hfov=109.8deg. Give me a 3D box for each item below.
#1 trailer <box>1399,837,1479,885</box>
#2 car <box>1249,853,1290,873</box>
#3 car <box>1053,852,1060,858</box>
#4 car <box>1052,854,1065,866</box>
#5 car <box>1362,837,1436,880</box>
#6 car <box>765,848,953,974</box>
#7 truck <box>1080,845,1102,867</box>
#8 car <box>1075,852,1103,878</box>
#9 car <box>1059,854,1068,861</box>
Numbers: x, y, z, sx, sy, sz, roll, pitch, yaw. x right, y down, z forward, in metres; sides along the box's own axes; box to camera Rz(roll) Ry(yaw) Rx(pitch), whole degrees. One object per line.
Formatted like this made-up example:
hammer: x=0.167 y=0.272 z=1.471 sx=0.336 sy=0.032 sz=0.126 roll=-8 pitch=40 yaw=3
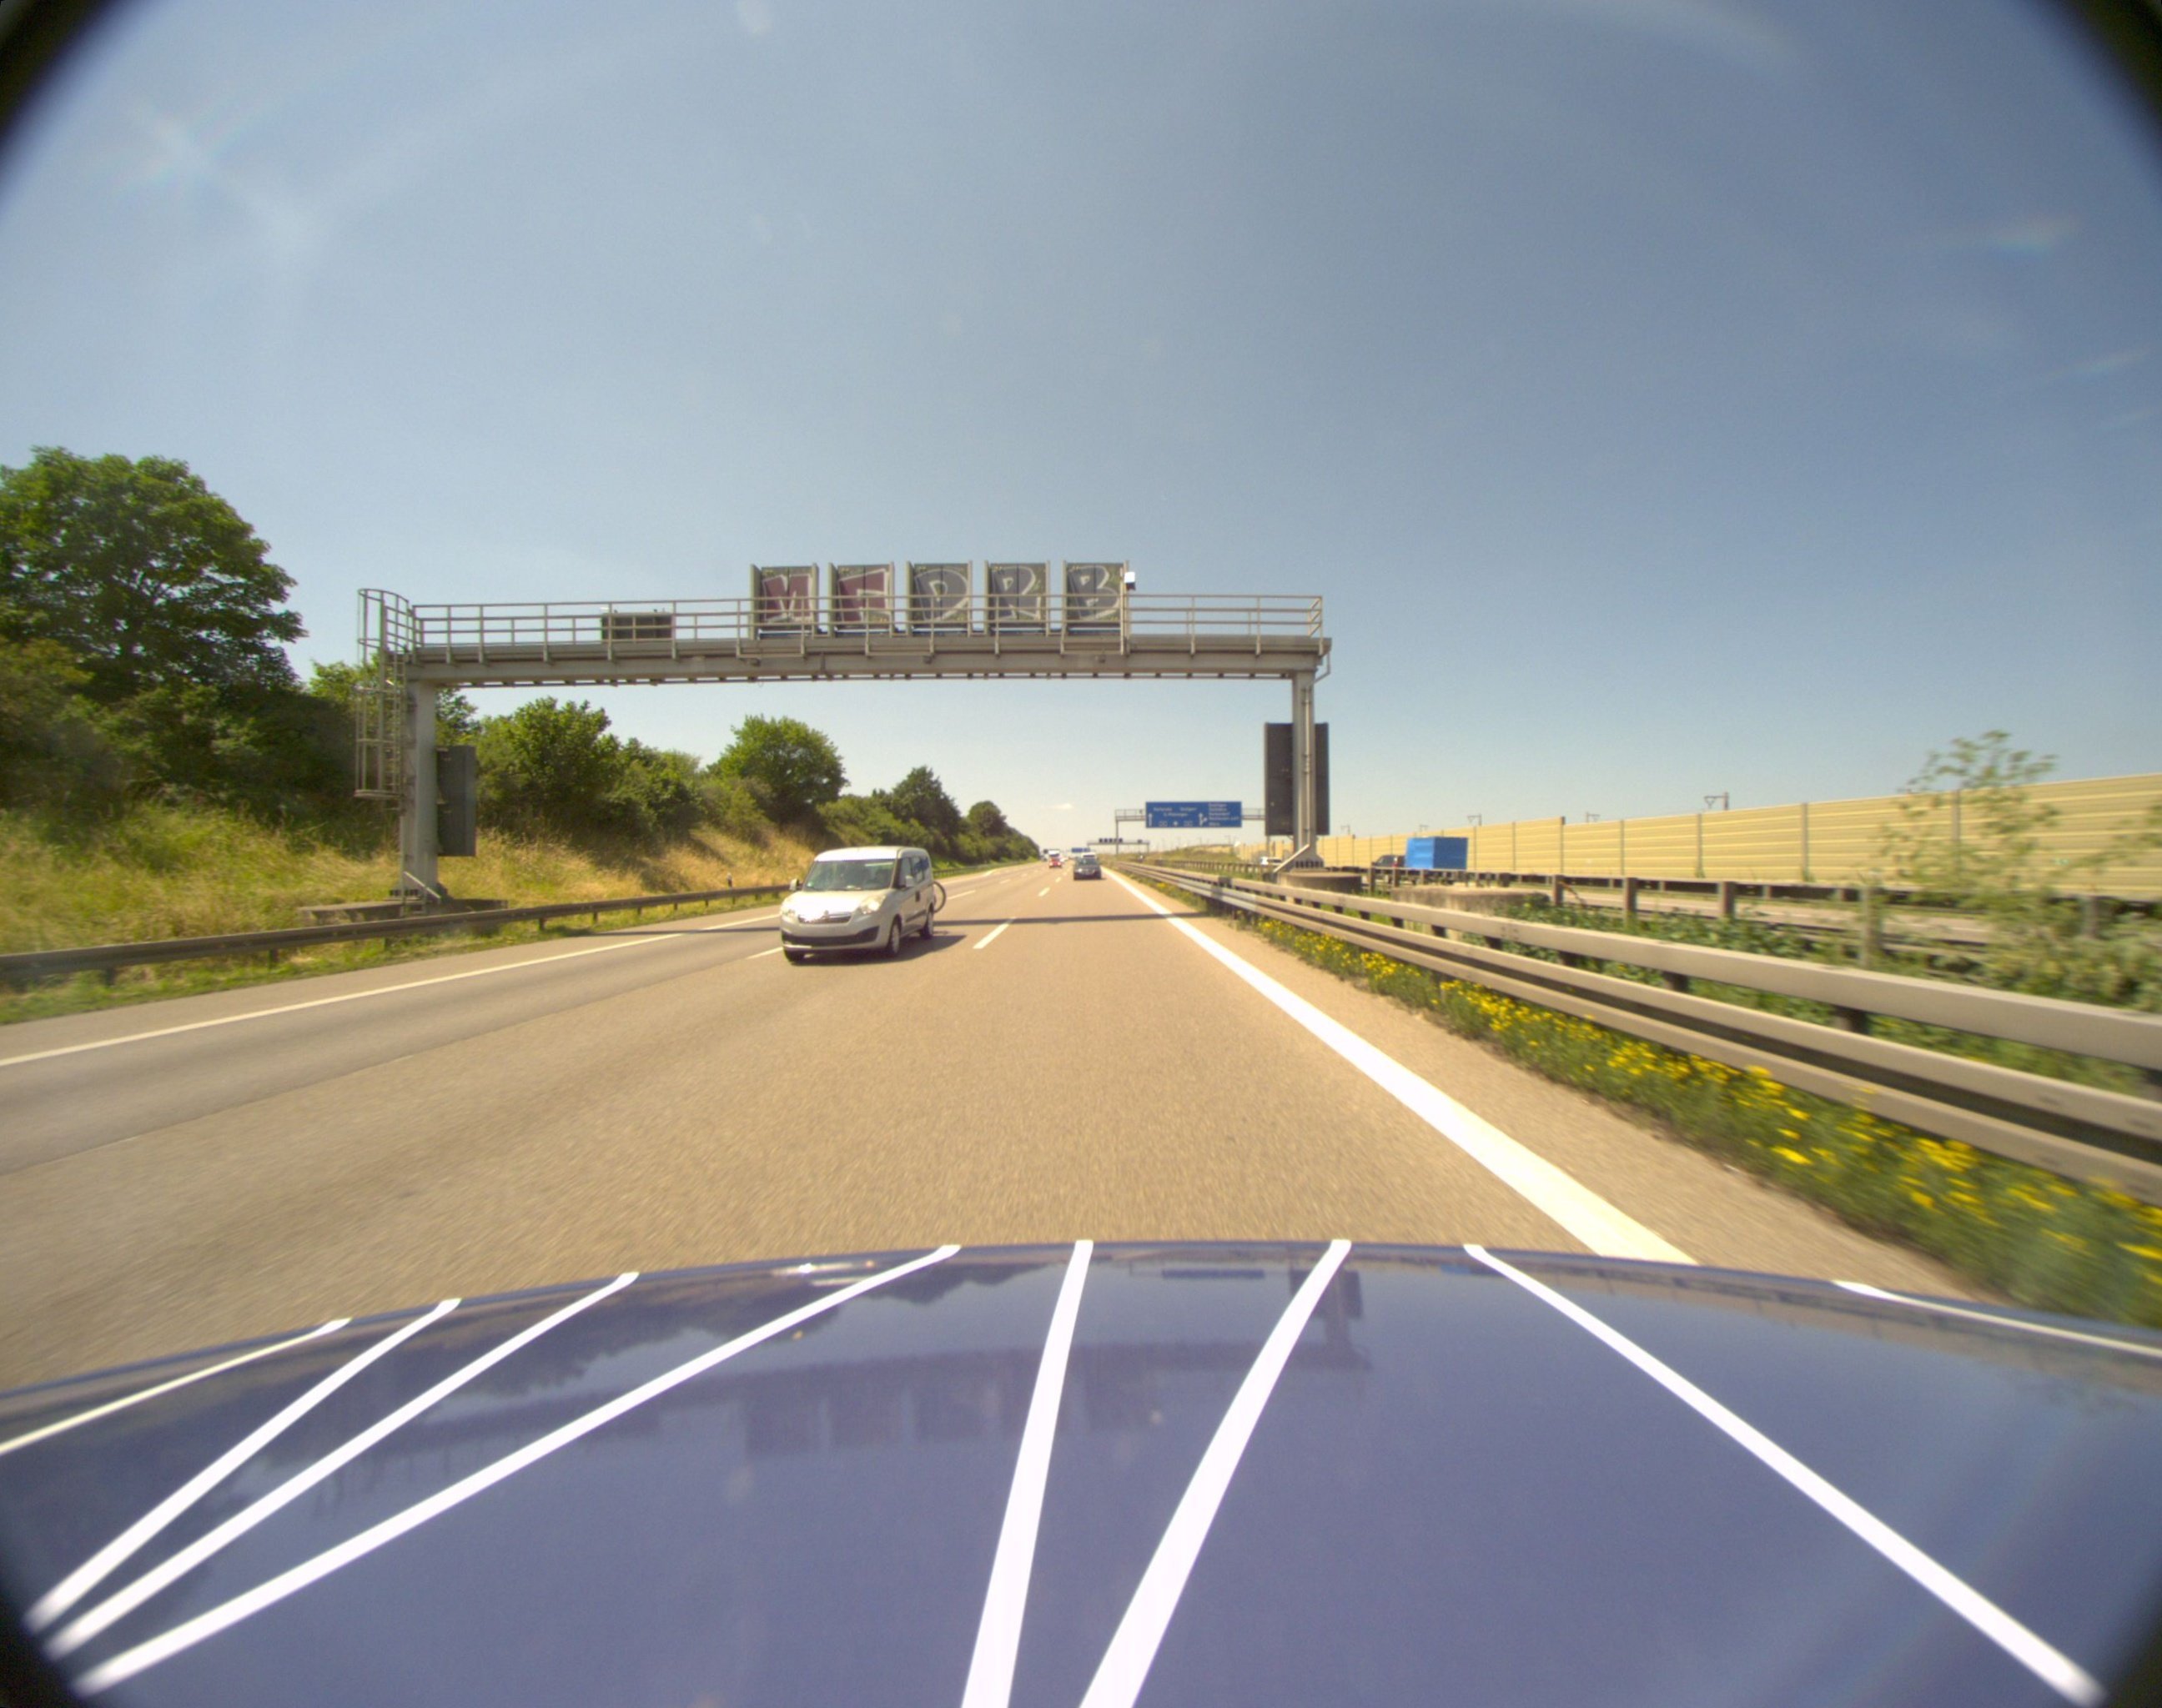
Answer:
trailer: x=18.074 y=0.297 z=38.593 sx=1.999 sy=2.225 sz=4.204 roll=-2 pitch=1 yaw=0
car: x=14.453 y=0.665 z=58.466 sx=1.898 sy=1.422 sz=4.723 roll=2 pitch=1 yaw=0
car: x=-7.878 y=0.348 z=246.990 sx=1.998 sy=2.002 sz=3.999 roll=-2 pitch=1 yaw=0
car: x=-3.086 y=0.767 z=104.588 sx=1.723 sy=1.514 sz=3.581 roll=-2 pitch=1 yaw=0
car: x=18.014 y=0.250 z=43.291 sx=1.999 sy=2.212 sz=5.097 roll=-2 pitch=0 yaw=0
car: x=-3.760 y=0.853 z=14.002 sx=1.812 sy=1.836 sz=5.312 roll=-2 pitch=0 yaw=0
truck: x=1.143 y=0.159 z=89.155 sx=2.333 sy=2.378 sz=6.686 roll=-2 pitch=1 yaw=0
car: x=0.519 y=0.692 z=49.987 sx=1.715 sy=1.586 sz=4.547 roll=-1 pitch=0 yaw=0
car: x=-3.837 y=0.706 z=164.905 sx=1.723 sy=1.514 sz=3.581 roll=-2 pitch=1 yaw=0
